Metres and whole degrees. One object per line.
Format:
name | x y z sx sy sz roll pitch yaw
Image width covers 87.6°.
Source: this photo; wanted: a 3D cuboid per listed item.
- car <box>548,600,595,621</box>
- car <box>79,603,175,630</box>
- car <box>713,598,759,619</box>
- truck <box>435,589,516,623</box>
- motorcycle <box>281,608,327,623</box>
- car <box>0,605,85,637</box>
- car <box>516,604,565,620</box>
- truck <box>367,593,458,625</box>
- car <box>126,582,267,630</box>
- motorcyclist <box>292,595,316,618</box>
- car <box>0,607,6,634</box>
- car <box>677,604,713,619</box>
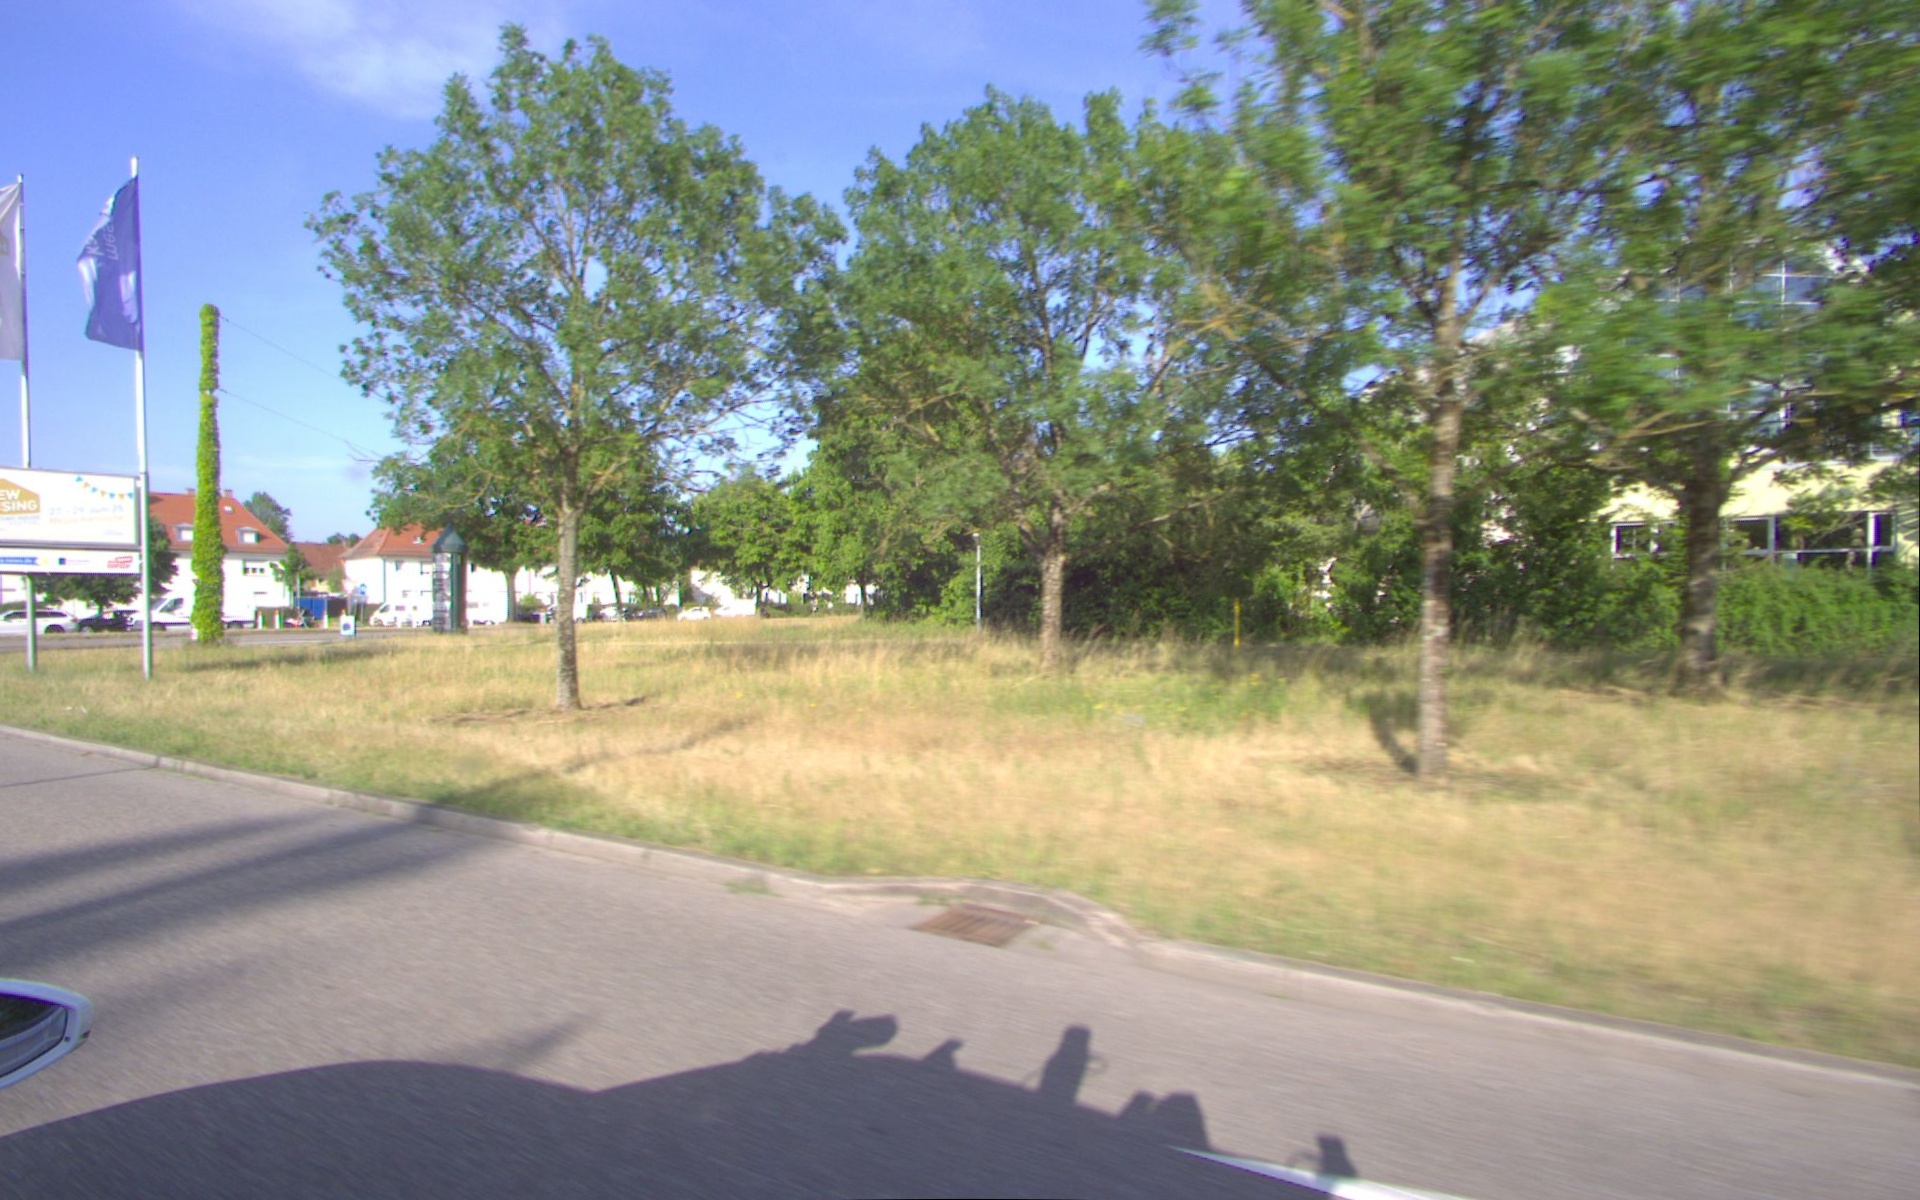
car | -36.852 0.968 94.974 3.835 1.945 1.895 0 0 -9
car | -47.981 0.918 57.719 1.694 1.472 3.972 0 0 37
car | -24.760 0.952 110.830 4.885 2.261 1.999 0 0 -9
truck | -42.022 0.544 86.961 5.964 2.892 1.894 0 0 -10
motorcycle | -40.063 0.951 61.192 0.681 0.878 2.264 0 0 35
car | -48.280 1.042 51.234 1.816 1.584 5.076 0 0 37
car | -38.590 1.077 92.212 3.837 1.475 1.894 0 0 -12
truck | -44.666 0.731 81.813 6.233 2.557 2.277 1 0 2
car | -43.737 0.332 57.527 1.974 2.617 6.187 0 0 37
motorcyclist | -40.070 0.381 61.177 0.671 1.370 1.062 0 0 36
car | -52.607 1.060 51.571 1.694 1.430 4.806 0 0 37
car | -27.982 1.199 105.875 3.367 1.534 1.895 0 0 -5
